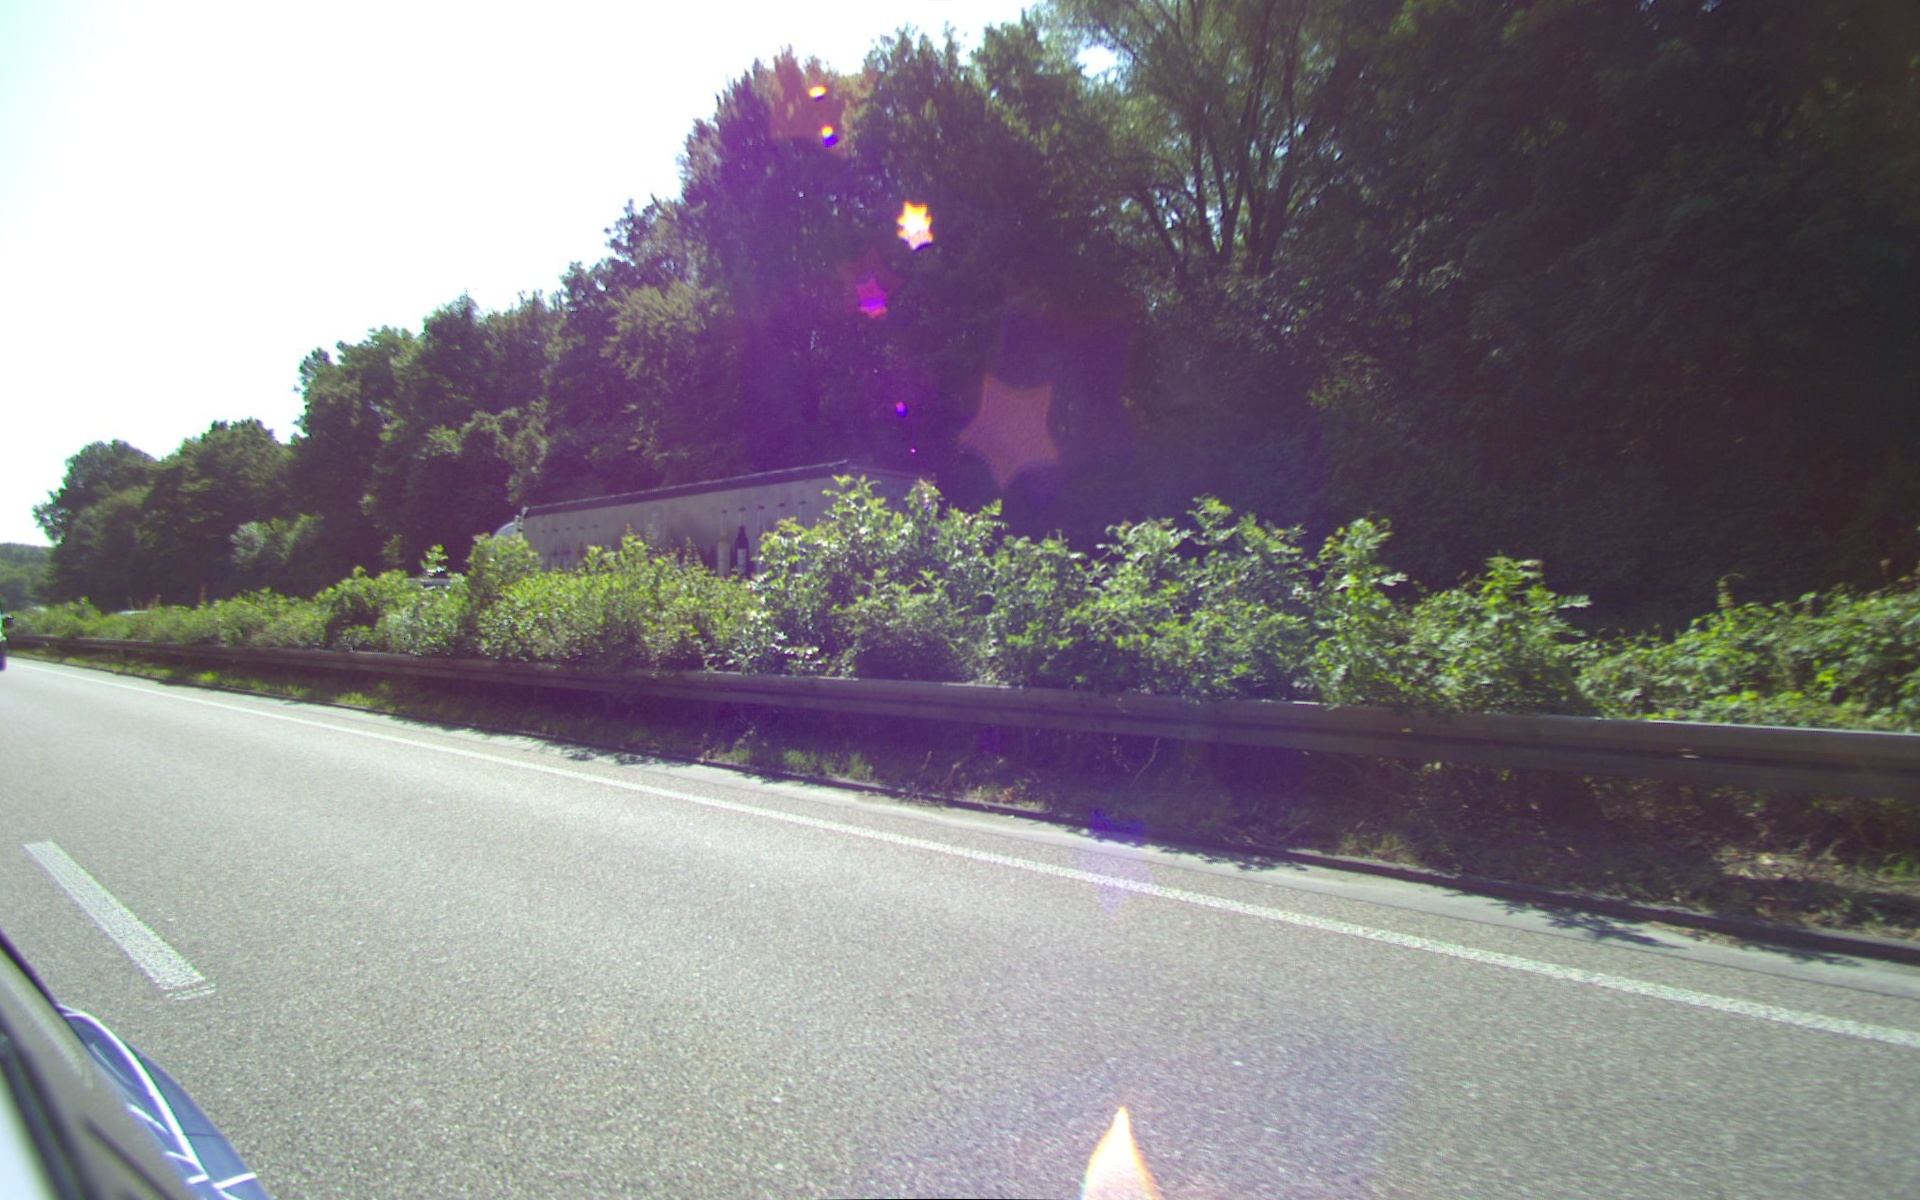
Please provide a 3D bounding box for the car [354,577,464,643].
[{"bbox_3d":[-15.291,0.276,28.027,3.480,1.719,1.590,-1,0,42],"label":"car"}]

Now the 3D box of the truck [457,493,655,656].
[{"bbox_3d":[-11.983,-0.649,29.721,6.533,4.276,2.689,-1,0,41],"label":"truck"}]

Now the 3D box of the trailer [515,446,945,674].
[{"bbox_3d":[-6.375,-0.711,24.851,13.657,4.332,2.799,-1,0,41],"label":"trailer"}]
